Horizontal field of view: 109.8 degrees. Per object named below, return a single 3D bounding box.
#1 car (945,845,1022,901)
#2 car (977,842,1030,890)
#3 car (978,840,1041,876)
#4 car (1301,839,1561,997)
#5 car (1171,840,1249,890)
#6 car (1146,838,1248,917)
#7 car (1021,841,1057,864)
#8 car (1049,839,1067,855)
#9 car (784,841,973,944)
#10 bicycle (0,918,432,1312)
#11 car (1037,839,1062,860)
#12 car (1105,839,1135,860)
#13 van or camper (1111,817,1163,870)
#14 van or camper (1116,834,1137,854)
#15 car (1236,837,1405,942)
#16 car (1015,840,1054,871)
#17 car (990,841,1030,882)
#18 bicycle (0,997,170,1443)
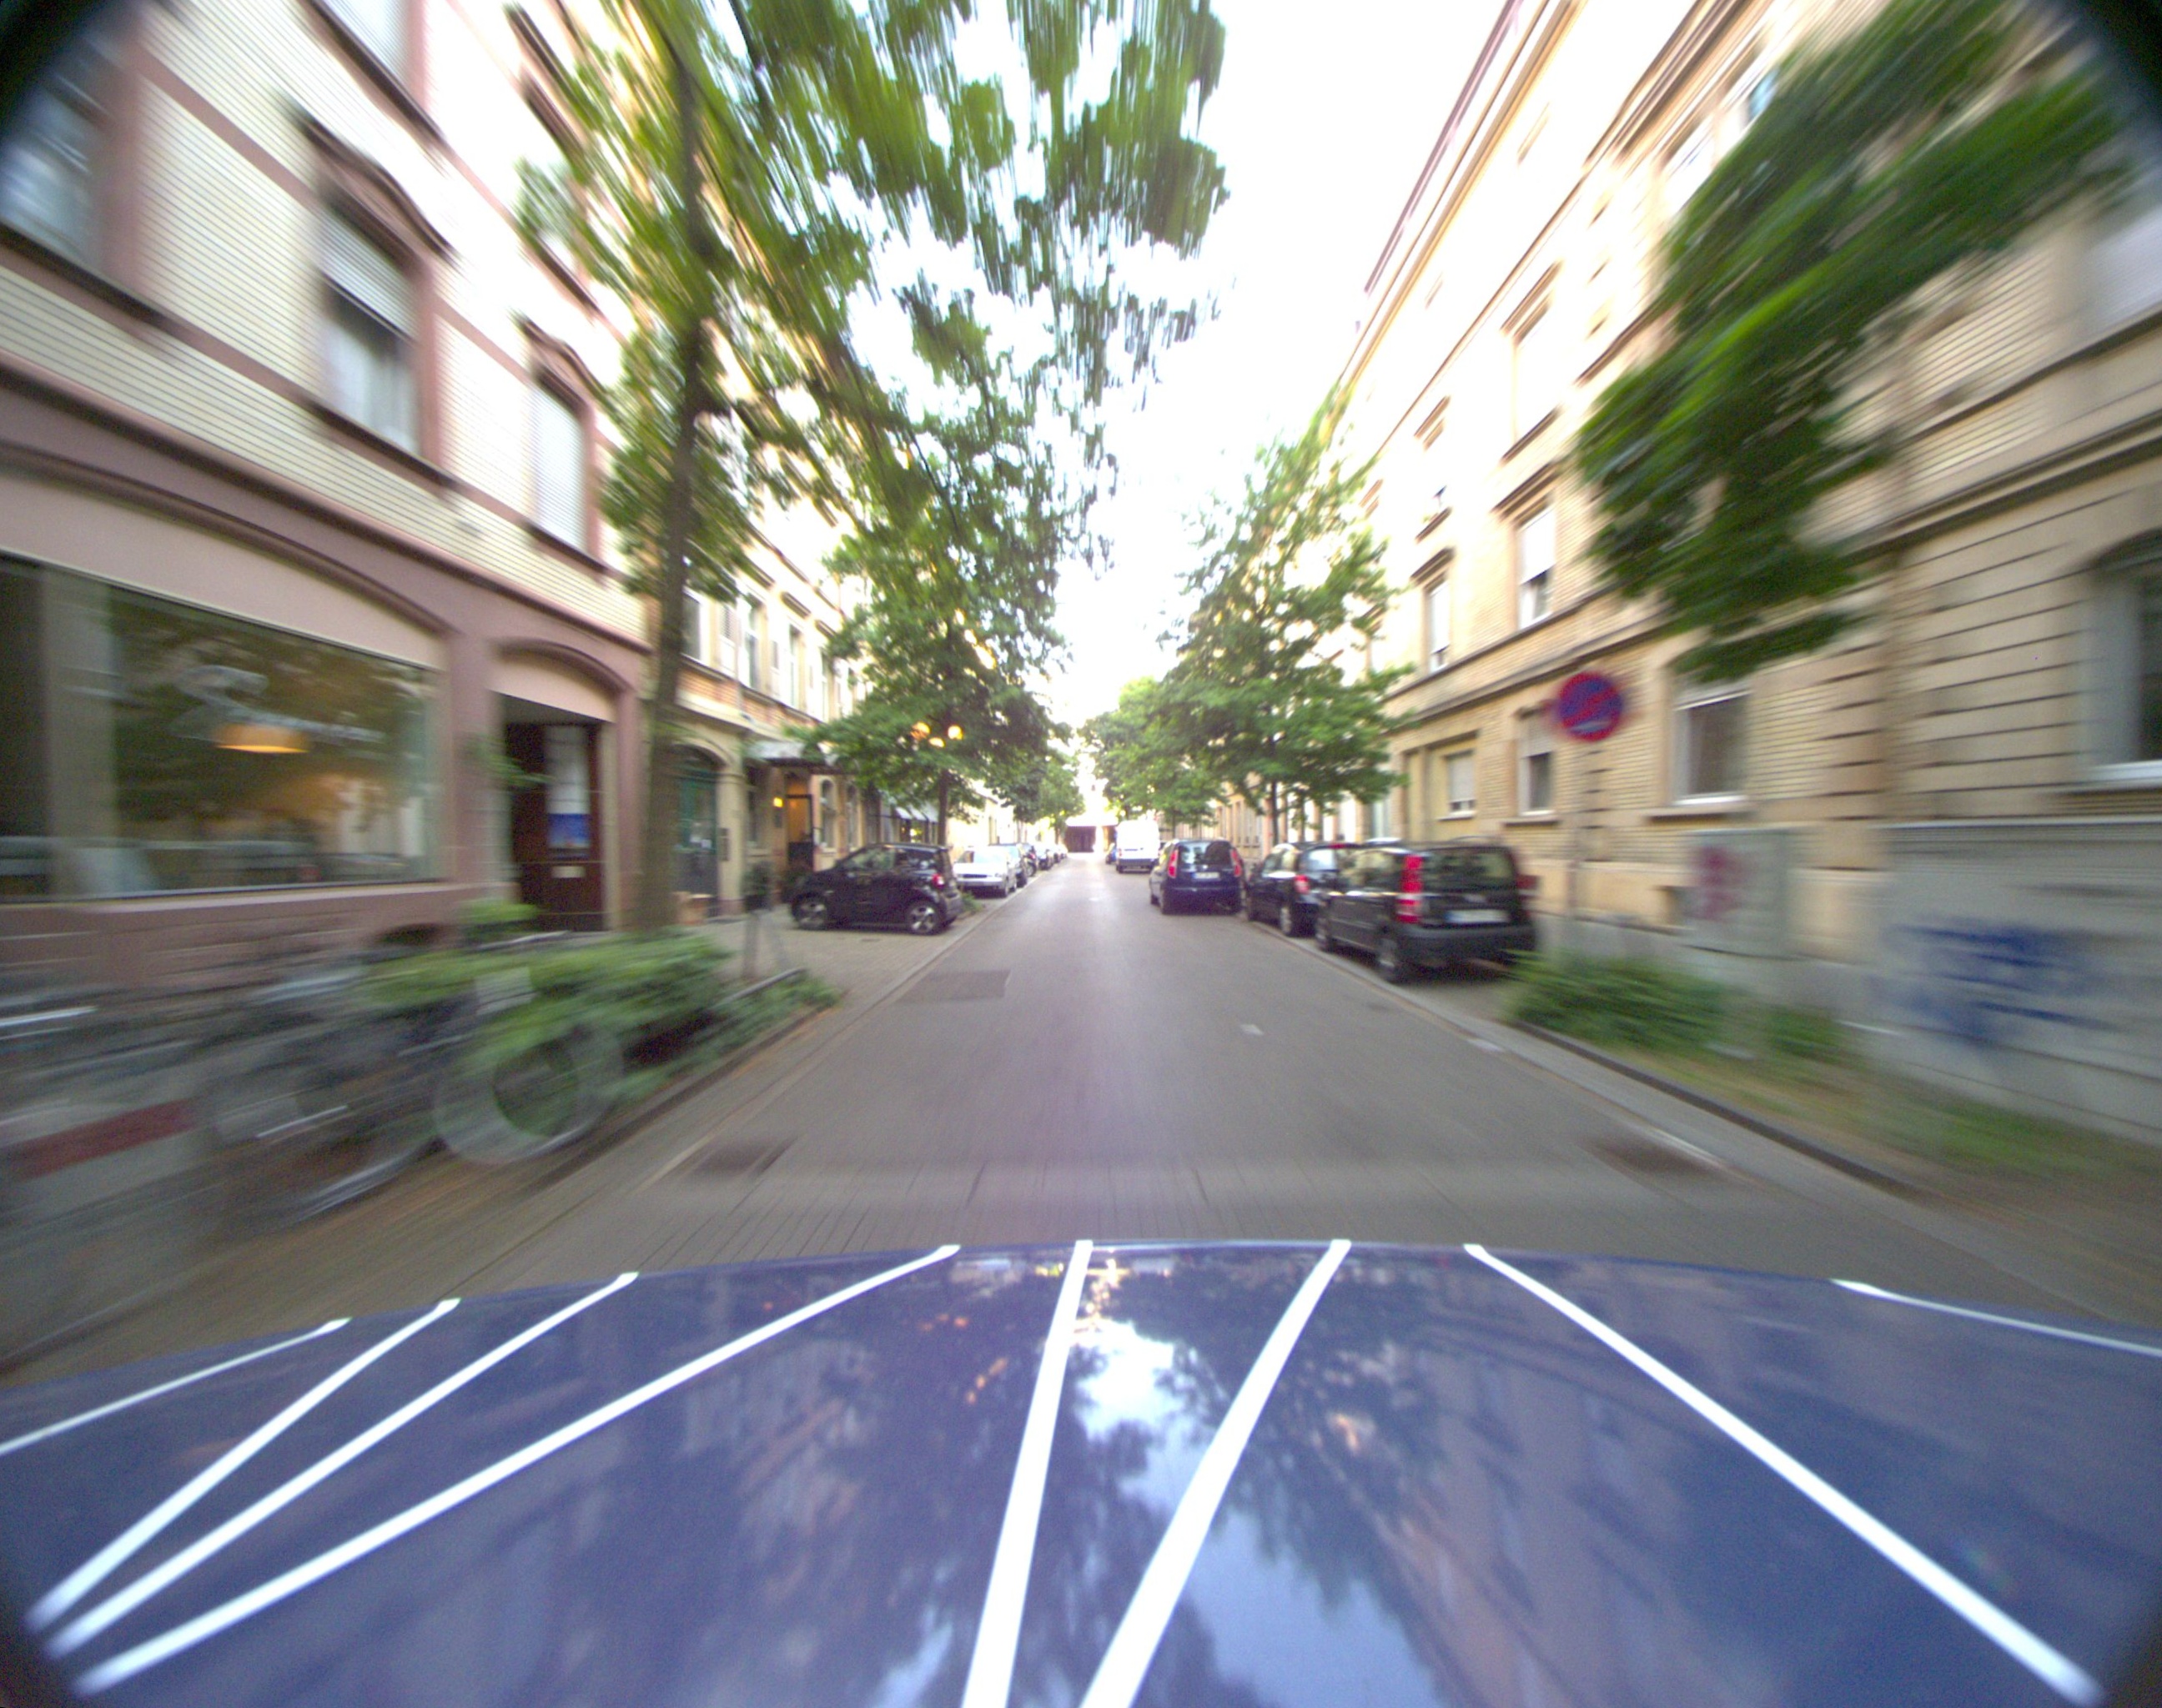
[{"bbox_3d":[-2.834,0.498,22.861,1.737,1.482,4.103,-1,1,0],"label":"car"},{"bbox_3d":[-2.716,0.383,27.233,1.595,1.552,3.121,-1,1,-1],"label":"car"},{"bbox_3d":[-3.238,0.159,34.789,2.721,1.564,1.525,1,2,0],"label":"car"},{"bbox_3d":[3.989,0.602,9.305,1.523,1.493,3.560,-2,2,0],"label":"car"},{"bbox_3d":[4.136,0.306,25.051,1.771,1.454,4.257,-1,1,-1],"label":"car"},{"bbox_3d":[2.529,0.443,17.496,1.728,1.564,4.218,-1,1,0],"label":"car"},{"bbox_3d":[-2.702,-0.120,49.915,2.052,1.396,4.865,-1,1,0],"label":"car"},{"bbox_3d":[-2.319,-0.697,76.375,1.656,1.501,3.868,-2,1,-2],"label":"car"},{"bbox_3d":[-3.481,0.624,13.476,2.804,1.590,1.800,2,2,1],"label":"car"},{"bbox_3d":[-3.867,0.961,3.086,1.766,1.287,0.801,1,1,0],"label":"bicycle"},{"bbox_3d":[-2.459,-0.388,60.198,1.835,1.530,4.123,-1,1,0],"label":"car"},{"bbox_3d":[2.744,-0.351,53.881,1.665,1.448,4.281,0,1,-3],"label":"car"},{"bbox_3d":[2.706,-0.552,38.061,2.225,2.417,5.659,-1,1,1],"label":"van or camper"},{"bbox_3d":[4.472,-0.999,75.843,1.684,1.847,3.755,-2,1,-2],"label":"van or camper"},{"bbox_3d":[3.981,0.500,13.261,1.695,1.493,3.710,-3,2,0],"label":"car"},{"bbox_3d":[-2.602,0.036,43.517,1.944,1.621,4.453,-2,1,0],"label":"car"},{"bbox_3d":[-2.805,0.263,30.619,1.468,1.543,2.916,0,1,-3],"label":"car"},{"bbox_3d":[-3.907,1.081,2.273,1.700,1.191,0.582,-1,1,4],"label":"bicycle"}]
